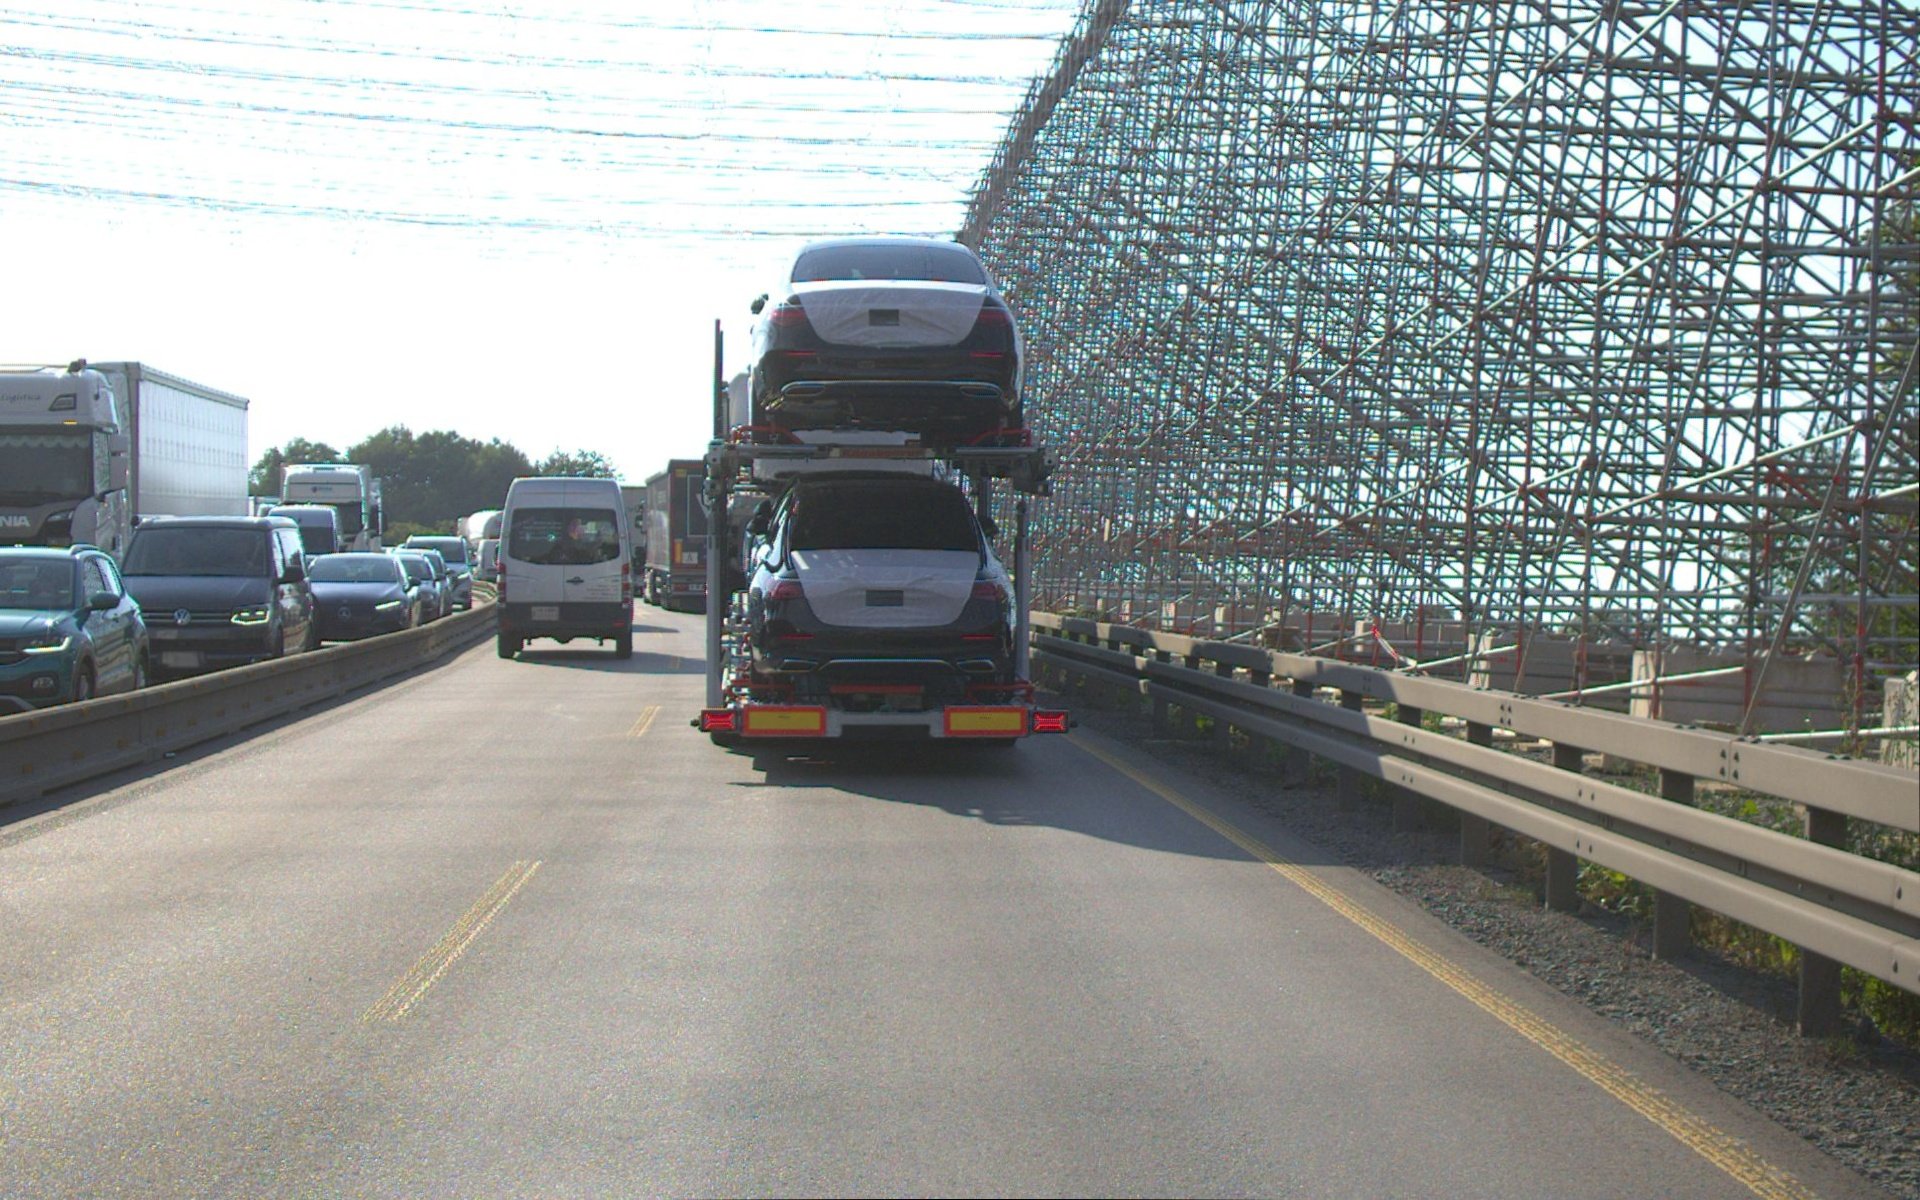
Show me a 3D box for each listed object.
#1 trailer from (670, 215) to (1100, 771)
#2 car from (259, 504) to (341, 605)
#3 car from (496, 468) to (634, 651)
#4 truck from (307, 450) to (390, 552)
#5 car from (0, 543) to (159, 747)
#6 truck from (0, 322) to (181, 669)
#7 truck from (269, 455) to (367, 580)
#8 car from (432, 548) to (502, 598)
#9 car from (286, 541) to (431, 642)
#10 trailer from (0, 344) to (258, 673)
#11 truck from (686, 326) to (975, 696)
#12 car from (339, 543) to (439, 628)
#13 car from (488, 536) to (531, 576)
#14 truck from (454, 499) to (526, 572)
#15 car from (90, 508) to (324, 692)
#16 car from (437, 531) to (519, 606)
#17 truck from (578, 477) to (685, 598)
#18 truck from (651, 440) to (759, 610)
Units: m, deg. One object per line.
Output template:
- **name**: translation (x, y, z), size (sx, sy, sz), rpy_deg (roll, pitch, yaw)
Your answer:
- **trailer**: translation (-1.010, -0.755, 30.515), size (2.868, 3.712, 14.949), rpy_deg (0, 0, -4)
- **car**: translation (-17.127, -1.189, 89.293), size (1.993, 2.532, 4.001), rpy_deg (1, 1, -10)
- **car**: translation (-5.856, -0.578, 51.198), size (1.956, 2.612, 4.001), rpy_deg (0, 0, -6)
- **truck**: translation (-22.376, -3.561, 125.458), size (2.594, 3.462, 12.396), rpy_deg (1, 1, -11)
- **car**: translation (-7.830, 0.305, 28.230), size (1.742, 1.529, 4.268), rpy_deg (1, 1, -4)
- **truck**: translation (-11.890, -1.299, 44.828), size (2.662, 4.215, 6.106), rpy_deg (0, 1, -6)
- **truck**: translation (-19.203, -2.433, 103.274), size (2.594, 3.462, 12.395), rpy_deg (1, 1, -10)
- **car**: translation (-15.048, -0.838, 104.808), size (1.836, 1.448, 4.001), rpy_deg (1, 1, -12)
- **car**: translation (-9.504, -0.166, 54.583), size (1.784, 1.497, 4.755), rpy_deg (2, 1, -4)
- **trailer**: translation (-12.675, -1.301, 51.459), size (2.653, 4.219, 13.922), rpy_deg (2, 1, -5)
- **truck**: translation (-1.537, -0.909, 38.056), size (2.881, 3.690, 7.326), rpy_deg (0, 0, -4)
- **car**: translation (-10.920, -0.306, 65.968), size (1.741, 1.537, 4.407), rpy_deg (1, 1, -8)
- **car**: translation (-18.459, -1.803, 140.988), size (1.710, 1.612, 3.504), rpy_deg (0, 0, -7)
- **truck**: translation (-25.163, -3.457, 183.605), size (2.615, 3.711, 9.662), rpy_deg (1, 1, -14)
- **car**: translation (-8.521, -0.029, 39.296), size (1.874, 1.928, 4.862), rpy_deg (1, 1, -4)
- **car**: translation (-12.639, -0.848, 90.366), size (1.836, 1.887, 4.001), rpy_deg (2, 1, -4)
- **truck**: translation (-12.556, -2.340, 131.149), size (3.686, 4.206, 13.671), rpy_deg (-3, 1, -6)
- **truck**: translation (-7.156, -2.047, 95.418), size (2.731, 4.370, 11.523), rpy_deg (1, 1, -5)
